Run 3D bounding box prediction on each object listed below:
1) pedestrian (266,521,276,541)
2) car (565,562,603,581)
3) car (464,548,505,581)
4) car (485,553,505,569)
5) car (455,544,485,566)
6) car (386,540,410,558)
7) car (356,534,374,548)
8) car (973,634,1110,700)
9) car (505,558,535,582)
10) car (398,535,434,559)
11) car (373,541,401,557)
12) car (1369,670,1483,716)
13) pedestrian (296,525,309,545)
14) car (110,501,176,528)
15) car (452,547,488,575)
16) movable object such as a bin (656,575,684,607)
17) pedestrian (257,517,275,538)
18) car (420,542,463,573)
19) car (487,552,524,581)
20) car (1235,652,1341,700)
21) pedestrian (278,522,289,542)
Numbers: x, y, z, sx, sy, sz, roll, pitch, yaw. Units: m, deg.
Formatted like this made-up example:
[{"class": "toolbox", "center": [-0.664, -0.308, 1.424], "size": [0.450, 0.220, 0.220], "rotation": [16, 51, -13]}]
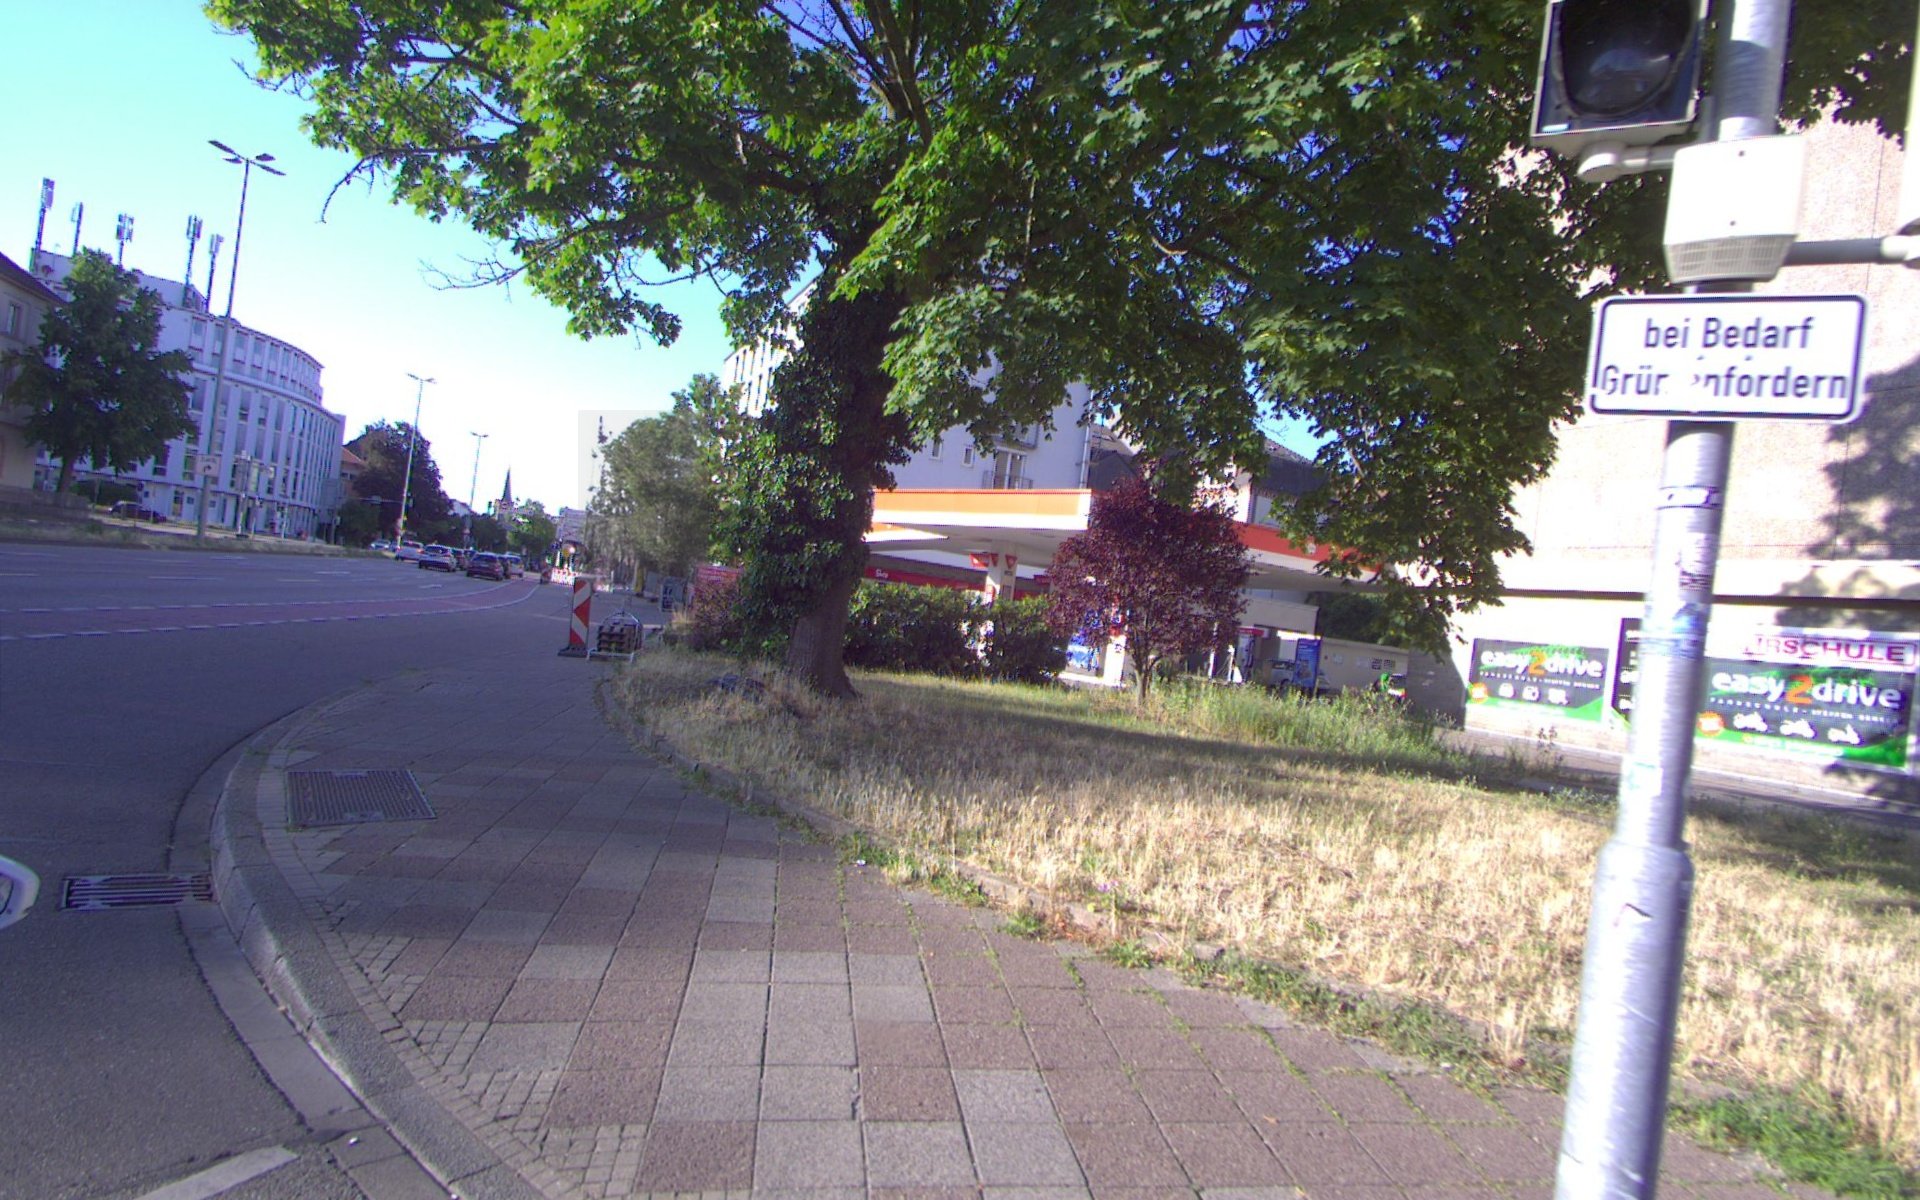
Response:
[{"class": "pedestrian", "center": [-68.900, -6.873, 100.602], "size": [0.656, 1.881, 0.771], "rotation": [7, 0, -34]}, {"class": "car", "center": [-49.090, -3.701, 131.358], "size": [4.323, 1.900, 1.989], "rotation": [8, -1, -24]}, {"class": "car", "center": [-27.019, -2.008, 57.249], "size": [1.730, 1.583, 4.029], "rotation": [8, -1, -22]}, {"class": "car", "center": [-51.271, -4.281, 110.990], "size": [1.572, 1.444, 3.804], "rotation": [8, -1, -22]}, {"class": "car", "center": [-39.252, -3.578, 80.629], "size": [1.665, 1.522, 3.704], "rotation": [7, -1, -22]}, {"class": "car", "center": [-67.885, -6.140, 121.547], "size": [1.820, 1.837, 3.985], "rotation": [6, -2, -20]}, {"class": "car", "center": [-80.838, -8.059, 136.634], "size": [1.827, 1.590, 3.970], "rotation": [8, -1, -29]}, {"class": "car", "center": [2.505, 2.080, 31.647], "size": [1.986, 1.371, 3.953], "rotation": [8, 1, -41]}, {"class": "car", "center": [-33.718, -2.304, 77.194], "size": [1.709, 1.598, 3.706], "rotation": [7, -1, -20]}, {"class": "car", "center": [-39.361, -3.813, 72.844], "size": [1.668, 1.474, 3.979], "rotation": [8, -1, -22]}, {"class": "car", "center": [-64.911, -5.771, 113.972], "size": [1.973, 1.430, 4.422], "rotation": [7, -1, -21]}, {"class": "car", "center": [19.595, 3.890, 42.494], "size": [1.728, 1.312, 4.233], "rotation": [7, -1, -23]}, {"class": "pedestrian", "center": [-66.413, -6.541, 101.601], "size": [0.619, 1.891, 1.122], "rotation": [7, 0, -19]}, {"class": "car", "center": [-67.096, -7.005, 82.718], "size": [3.773, 1.548, 1.853], "rotation": [7, -2, -26]}, {"class": "car", "center": [-33.050, -2.648, 67.947], "size": [1.730, 1.583, 4.029], "rotation": [8, -1, -22]}, {"class": "movable object such as a bin", "center": [-15.080, -0.459, 52.291], "size": [1.082, 1.524, 1.249], "rotation": [8, -3, -22]}, {"class": "pedestrian", "center": [-74.825, -7.803, 108.511], "size": [1.077, 2.038, 1.033], "rotation": [7, 0, -12]}, {"class": "car", "center": [-31.023, -2.546, 60.286], "size": [1.730, 1.583, 4.029], "rotation": [8, -1, -22]}, {"class": "car", "center": [-28.790, -2.115, 63.779], "size": [1.736, 1.507, 3.709], "rotation": [6, -2, -20]}, {"class": "car", "center": [13.723, 3.159, 42.347], "size": [1.728, 1.437, 4.233], "rotation": [7, -1, -23]}, {"class": "pedestrian", "center": [-67.988, -6.798, 101.103], "size": [0.753, 1.864, 0.811], "rotation": [7, 0, -32]}]
